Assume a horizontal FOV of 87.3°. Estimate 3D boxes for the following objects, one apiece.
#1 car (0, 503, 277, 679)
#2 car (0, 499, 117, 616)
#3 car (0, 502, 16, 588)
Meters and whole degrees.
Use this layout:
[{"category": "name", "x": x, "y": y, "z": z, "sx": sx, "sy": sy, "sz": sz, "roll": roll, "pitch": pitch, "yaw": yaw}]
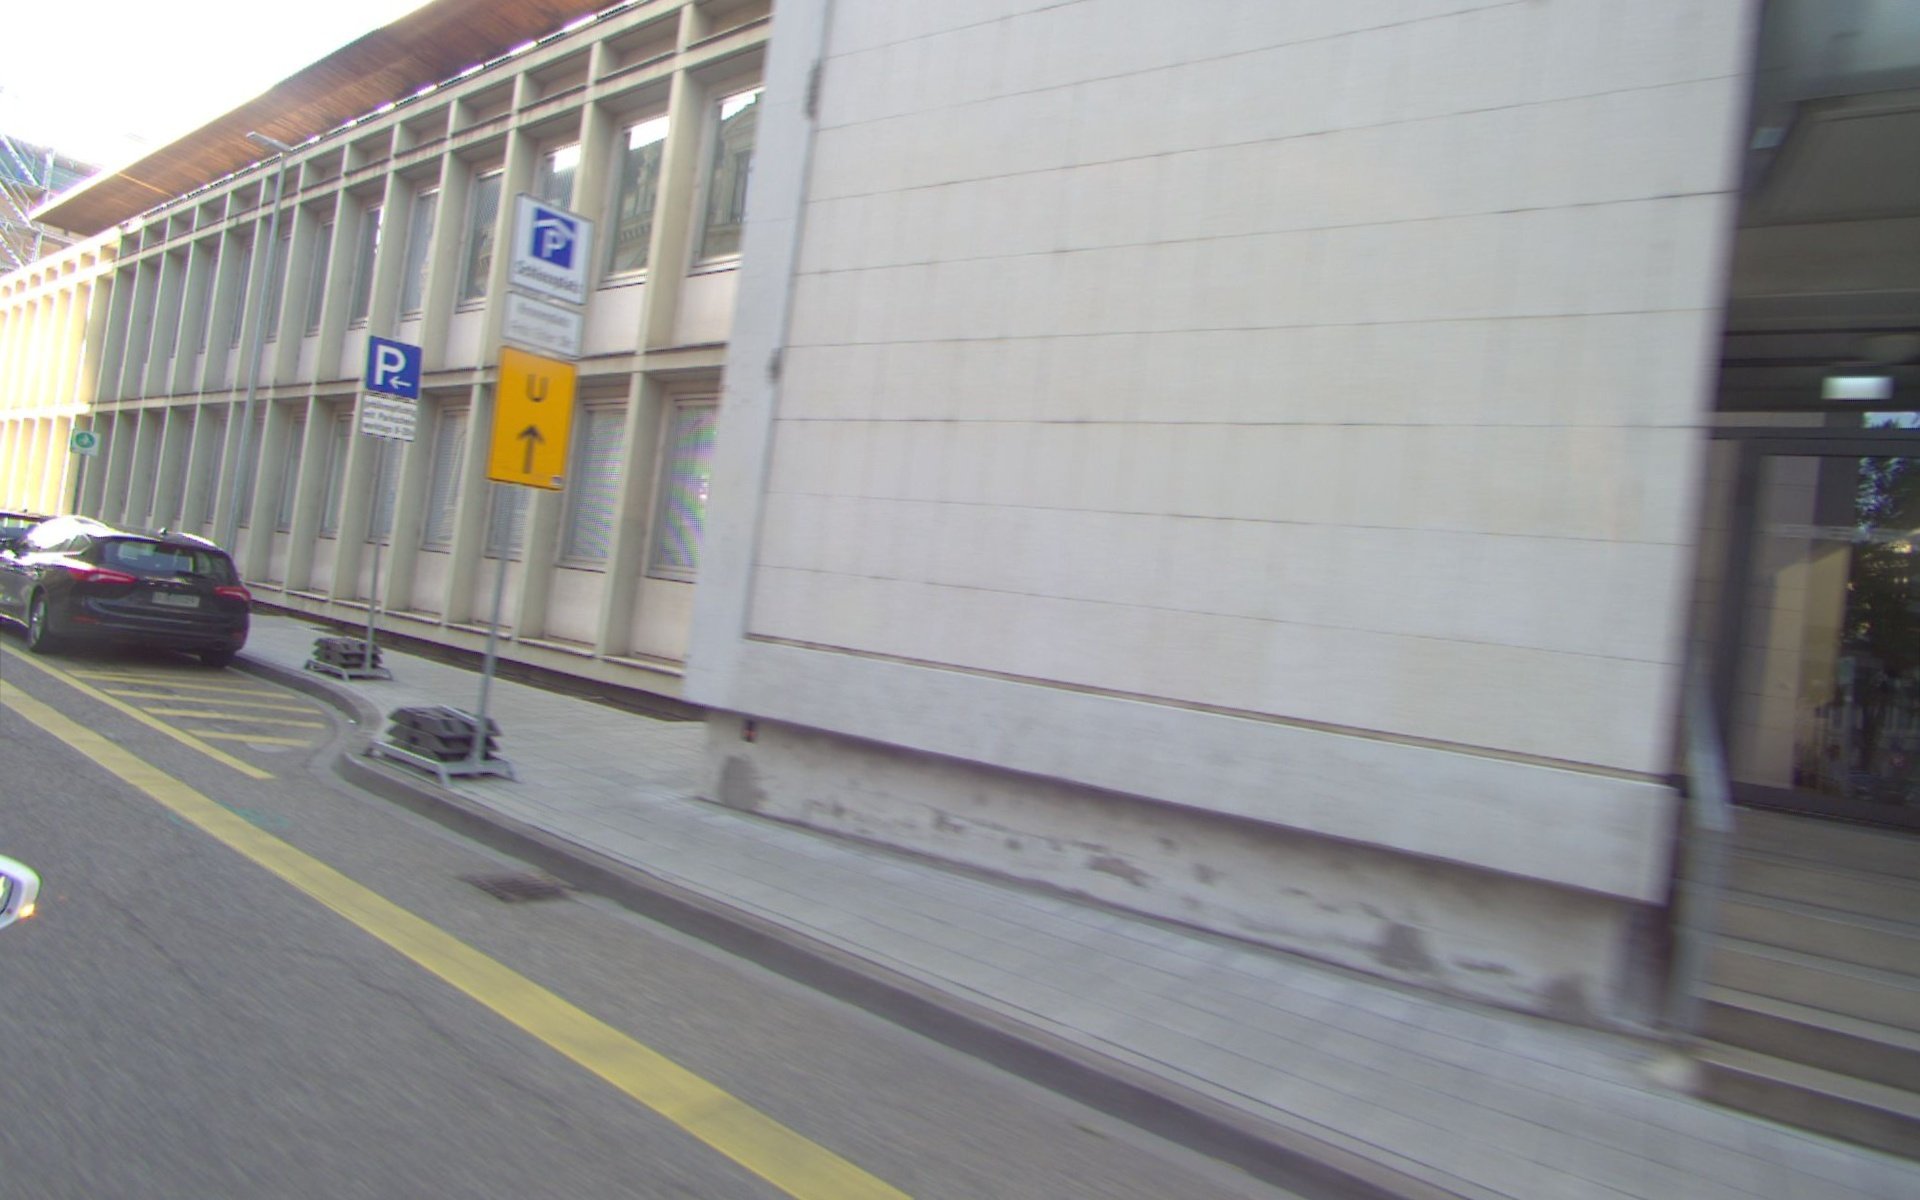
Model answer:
[{"category": "car", "x": -10.039, "y": -0.176, "z": 11.835, "sx": 4.221, "sy": 1.495, "sz": 1.785, "roll": 7, "pitch": -3, "yaw": 35}, {"category": "car", "x": -14.660, "y": -0.756, "z": 15.220, "sx": 4.222, "sy": 1.497, "sz": 1.782, "roll": 6, "pitch": -2, "yaw": 35}, {"category": "car", "x": -19.372, "y": -1.274, "z": 18.539, "sx": 4.662, "sy": 1.517, "sz": 1.828, "roll": 6, "pitch": -4, "yaw": 35}]
